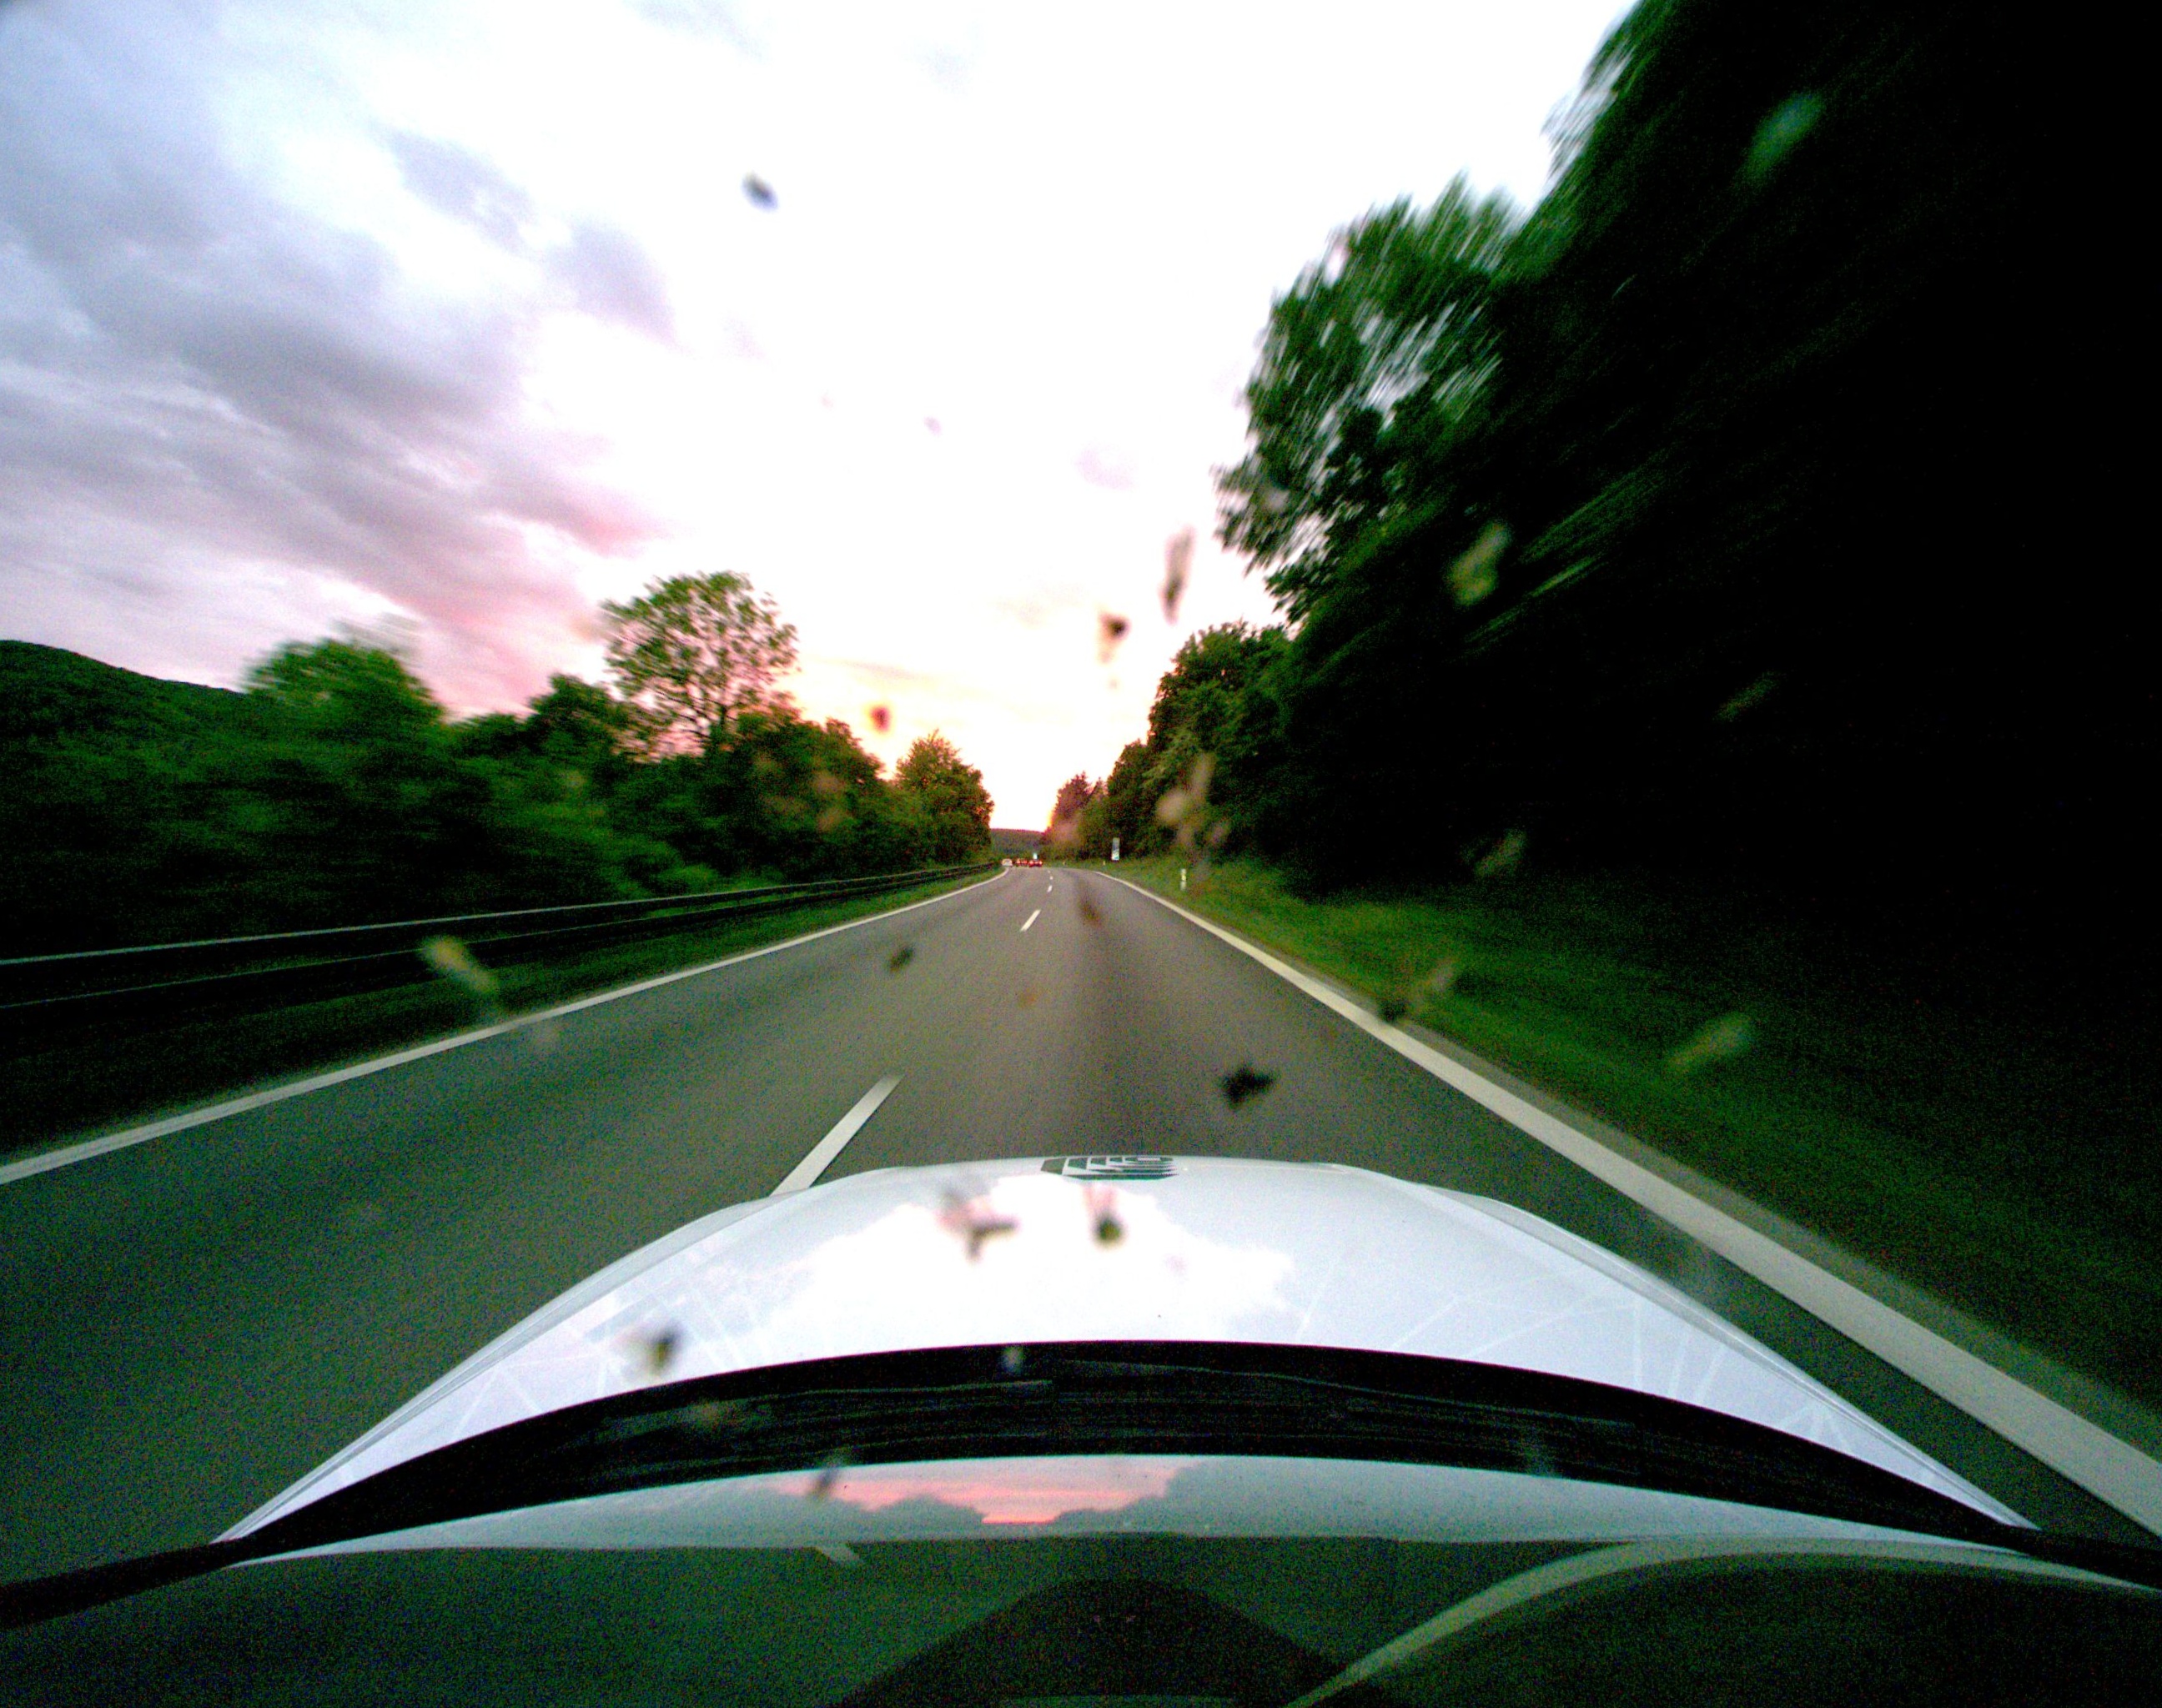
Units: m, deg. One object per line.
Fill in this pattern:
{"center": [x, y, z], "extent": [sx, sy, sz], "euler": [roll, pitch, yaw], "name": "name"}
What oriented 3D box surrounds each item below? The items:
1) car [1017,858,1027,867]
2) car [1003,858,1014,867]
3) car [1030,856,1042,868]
{"center": [-11.552, 1.667, 159.372], "extent": [1.716, 1.635, 3.992], "euler": [-1, -1, -6], "name": "car"}
{"center": [-13.379, 1.526, 150.245], "extent": [1.714, 1.501, 3.996], "euler": [1, -2, -2], "name": "car"}
{"center": [-7.740, 1.394, 139.743], "extent": [1.990, 1.646, 3.992], "euler": [3, -3, -4], "name": "car"}
